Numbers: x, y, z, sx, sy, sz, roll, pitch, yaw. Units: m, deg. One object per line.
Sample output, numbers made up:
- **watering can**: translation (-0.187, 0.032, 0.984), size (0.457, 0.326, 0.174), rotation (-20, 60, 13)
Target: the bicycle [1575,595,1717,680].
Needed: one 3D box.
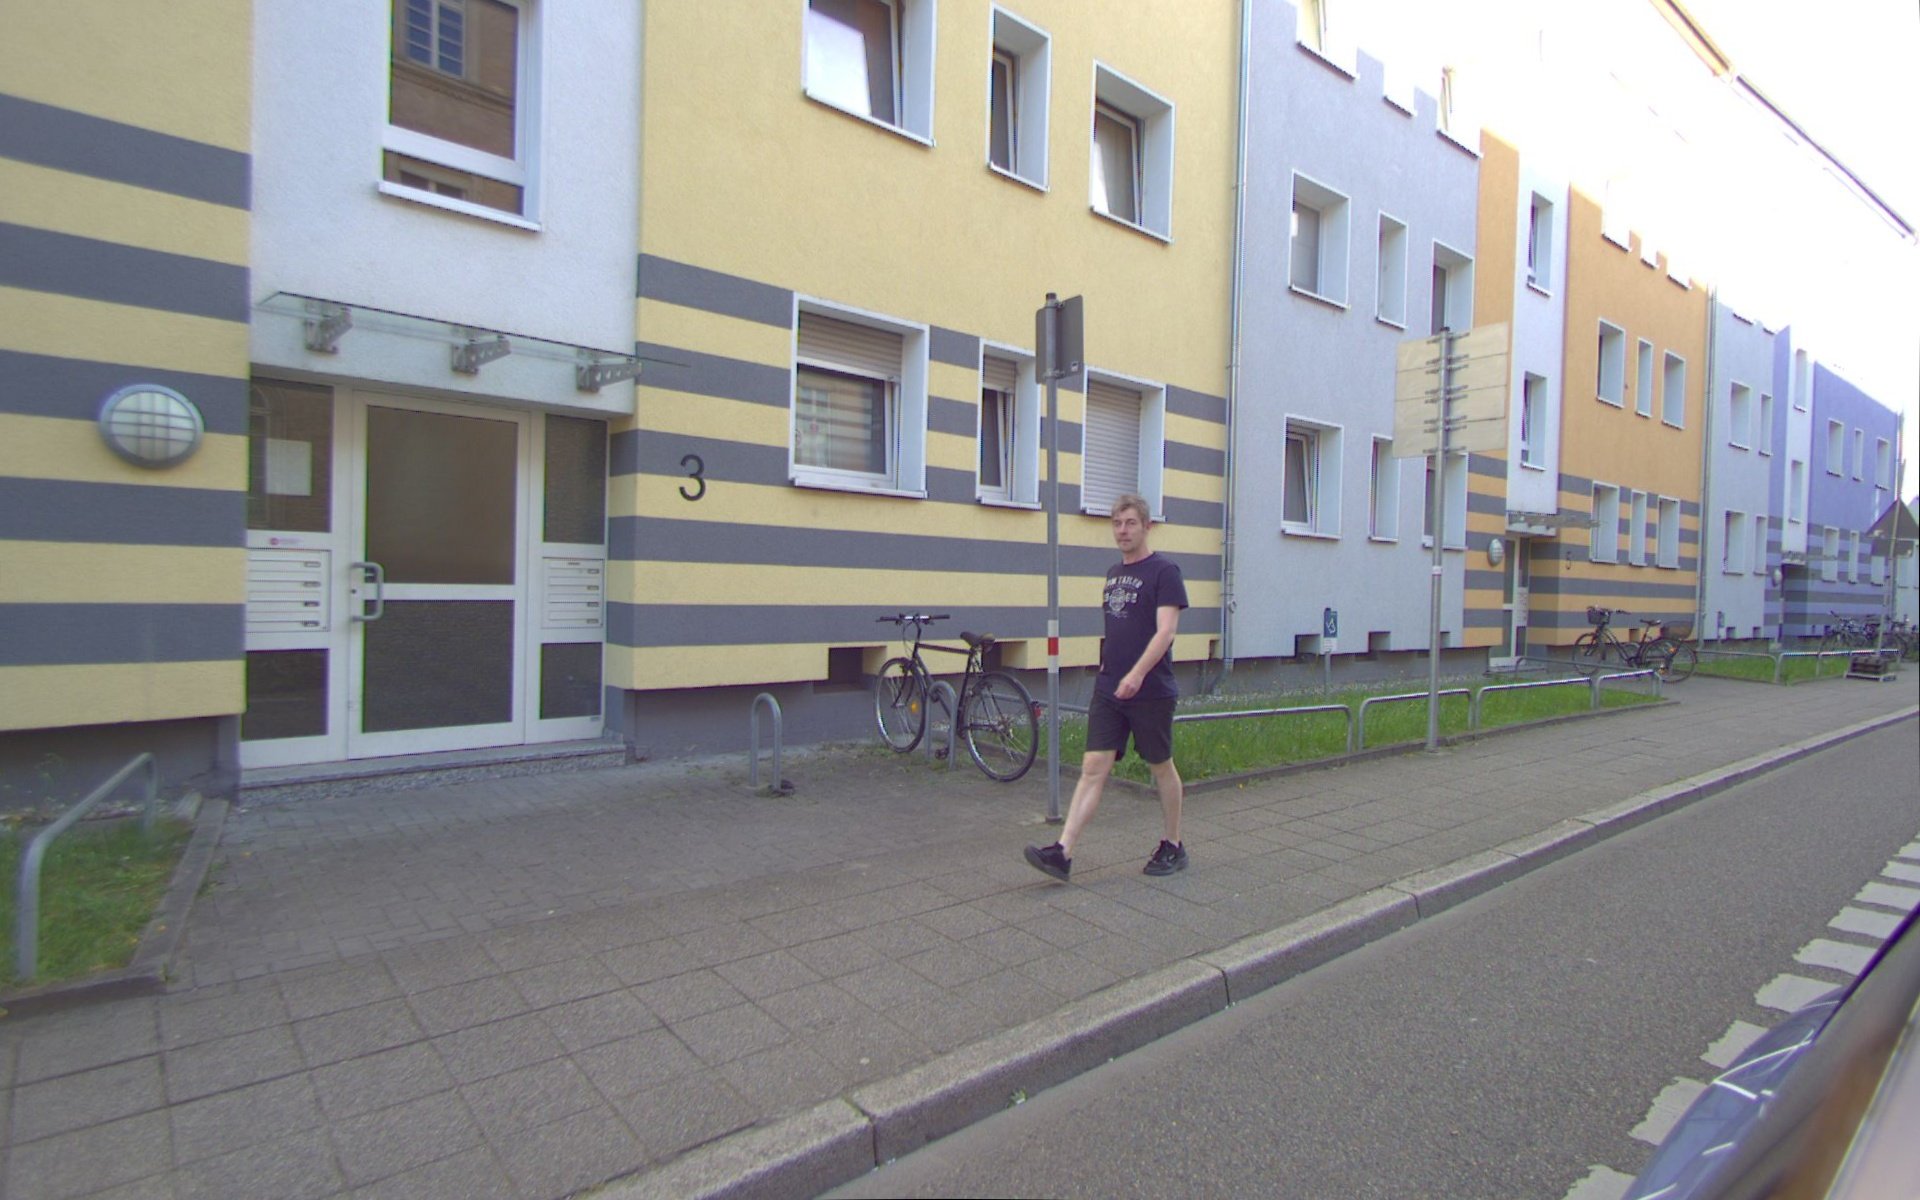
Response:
- **bicycle**: translation (10.728, 0.554, 15.870), size (0.625, 1.173, 1.709), rotation (1, 3, -42)

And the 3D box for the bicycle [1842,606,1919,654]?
- **bicycle**: translation (23.236, 0.745, 25.270), size (0.625, 1.095, 1.711), rotation (1, 3, -40)

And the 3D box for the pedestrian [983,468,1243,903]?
- **pedestrian**: translation (0.710, 0.337, 4.715), size (0.898, 1.810, 0.646), rotation (1, 4, -38)

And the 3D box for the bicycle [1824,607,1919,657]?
- **bicycle**: translation (22.268, 0.759, 24.674), size (0.624, 1.058, 1.711), rotation (1, 2, -39)

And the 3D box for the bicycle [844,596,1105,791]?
- **bicycle**: translation (0.033, 0.564, 7.051), size (0.625, 1.074, 1.946), rotation (1, 3, -42)

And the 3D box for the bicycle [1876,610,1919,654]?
- **bicycle**: translation (24.155, 0.822, 25.344), size (0.625, 1.048, 1.709), rotation (1, 3, -42)
